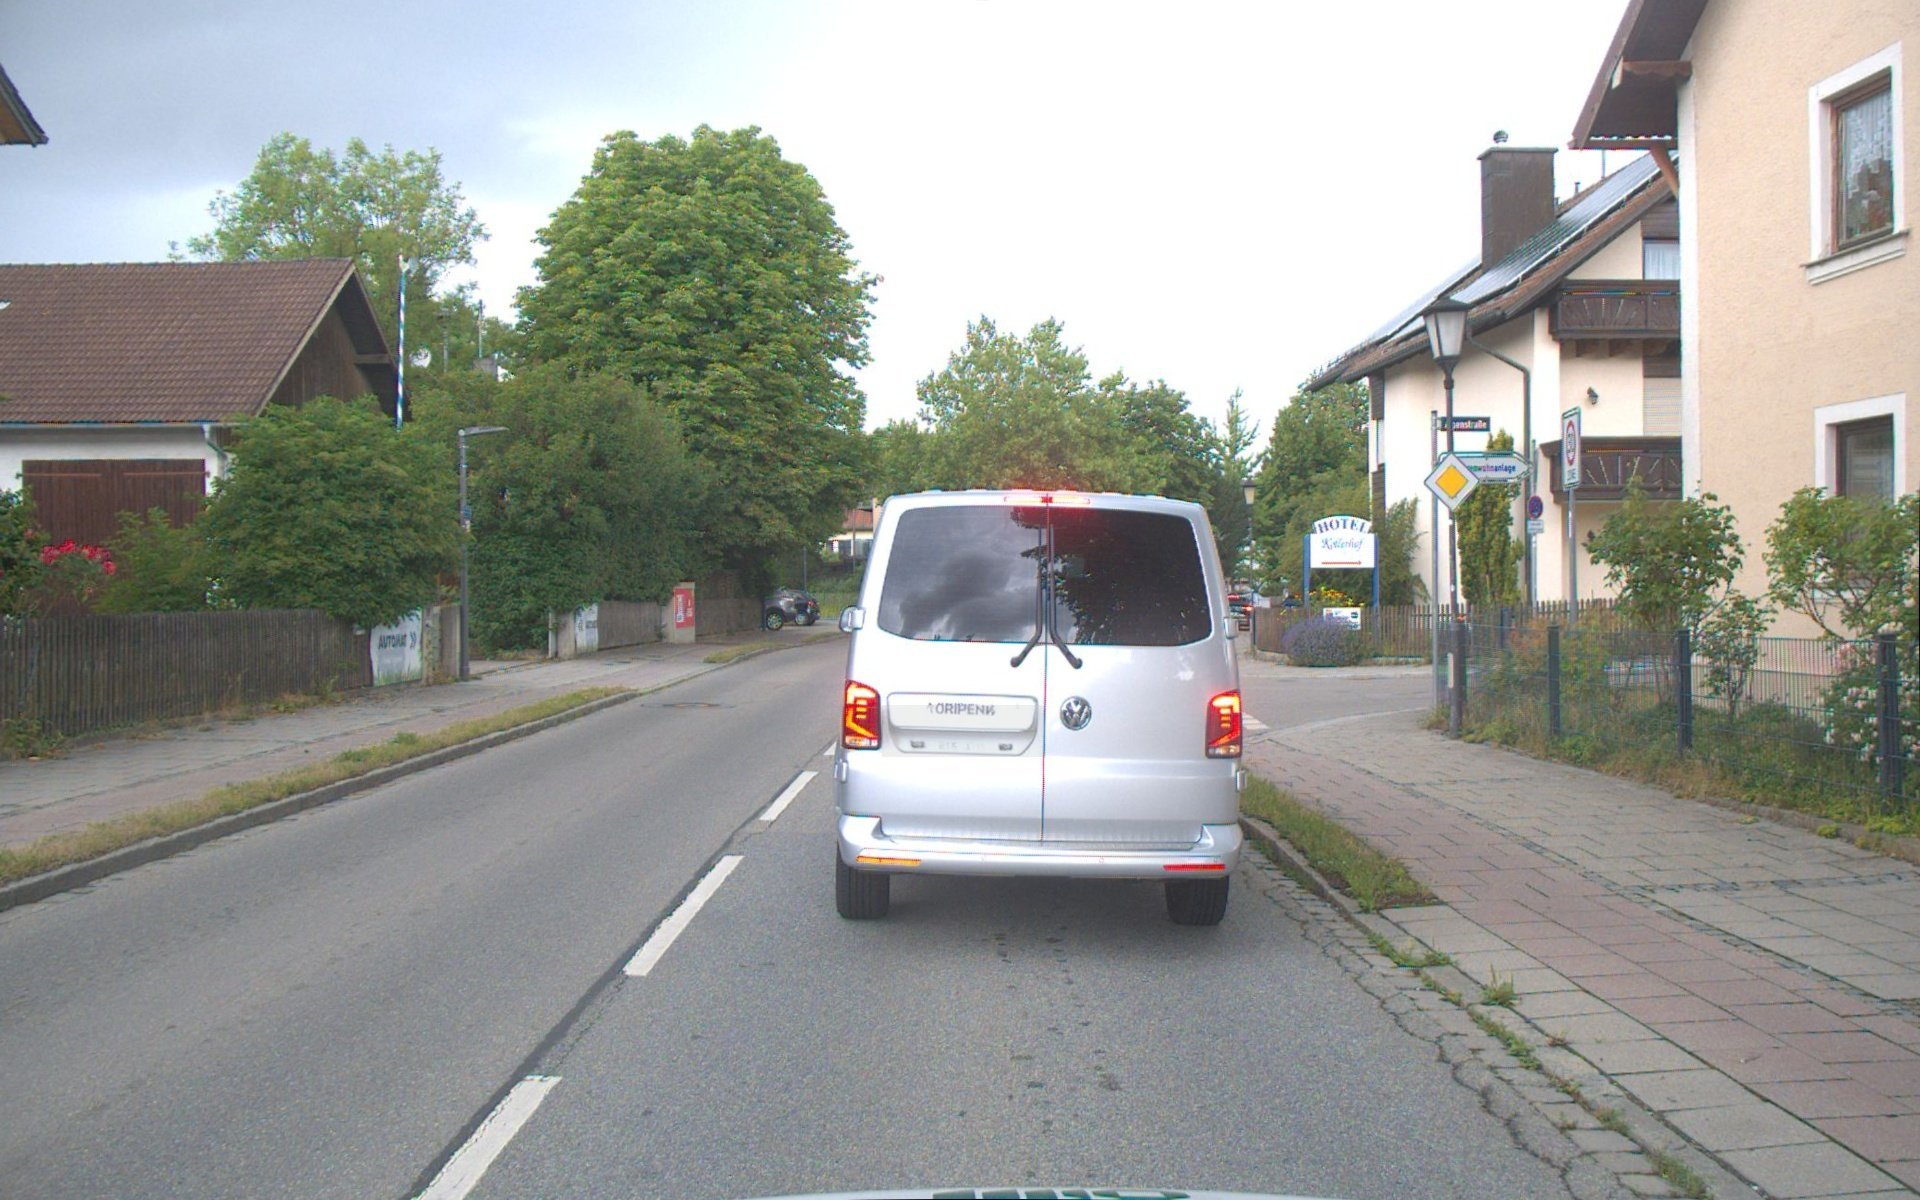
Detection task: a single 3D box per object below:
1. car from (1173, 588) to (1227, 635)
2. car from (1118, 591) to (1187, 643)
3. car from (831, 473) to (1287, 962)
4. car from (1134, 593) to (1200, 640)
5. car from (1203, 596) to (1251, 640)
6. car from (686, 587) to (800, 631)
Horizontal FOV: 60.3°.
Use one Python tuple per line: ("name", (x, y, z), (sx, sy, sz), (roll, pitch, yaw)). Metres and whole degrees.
("car", (9.512, 0.429, 65.335), (1.841, 1.779, 4.084), (-1, 0, 11))
("car", (6.074, 0.510, 51.918), (1.841, 1.562, 3.924), (0, 0, 11))
("car", (0.402, 0.469, 8.681), (1.843, 1.974, 3.920), (0, 0, 0))
("car", (7.155, 0.539, 56.899), (1.841, 1.562, 3.924), (0, 0, 13))
("car", (11.689, 0.746, 72.263), (1.841, 1.857, 3.924), (0, 0, 13))
("car", (-7.645, 0.296, 58.234), (3.913, 1.512, 1.996), (0, 0, -9))
